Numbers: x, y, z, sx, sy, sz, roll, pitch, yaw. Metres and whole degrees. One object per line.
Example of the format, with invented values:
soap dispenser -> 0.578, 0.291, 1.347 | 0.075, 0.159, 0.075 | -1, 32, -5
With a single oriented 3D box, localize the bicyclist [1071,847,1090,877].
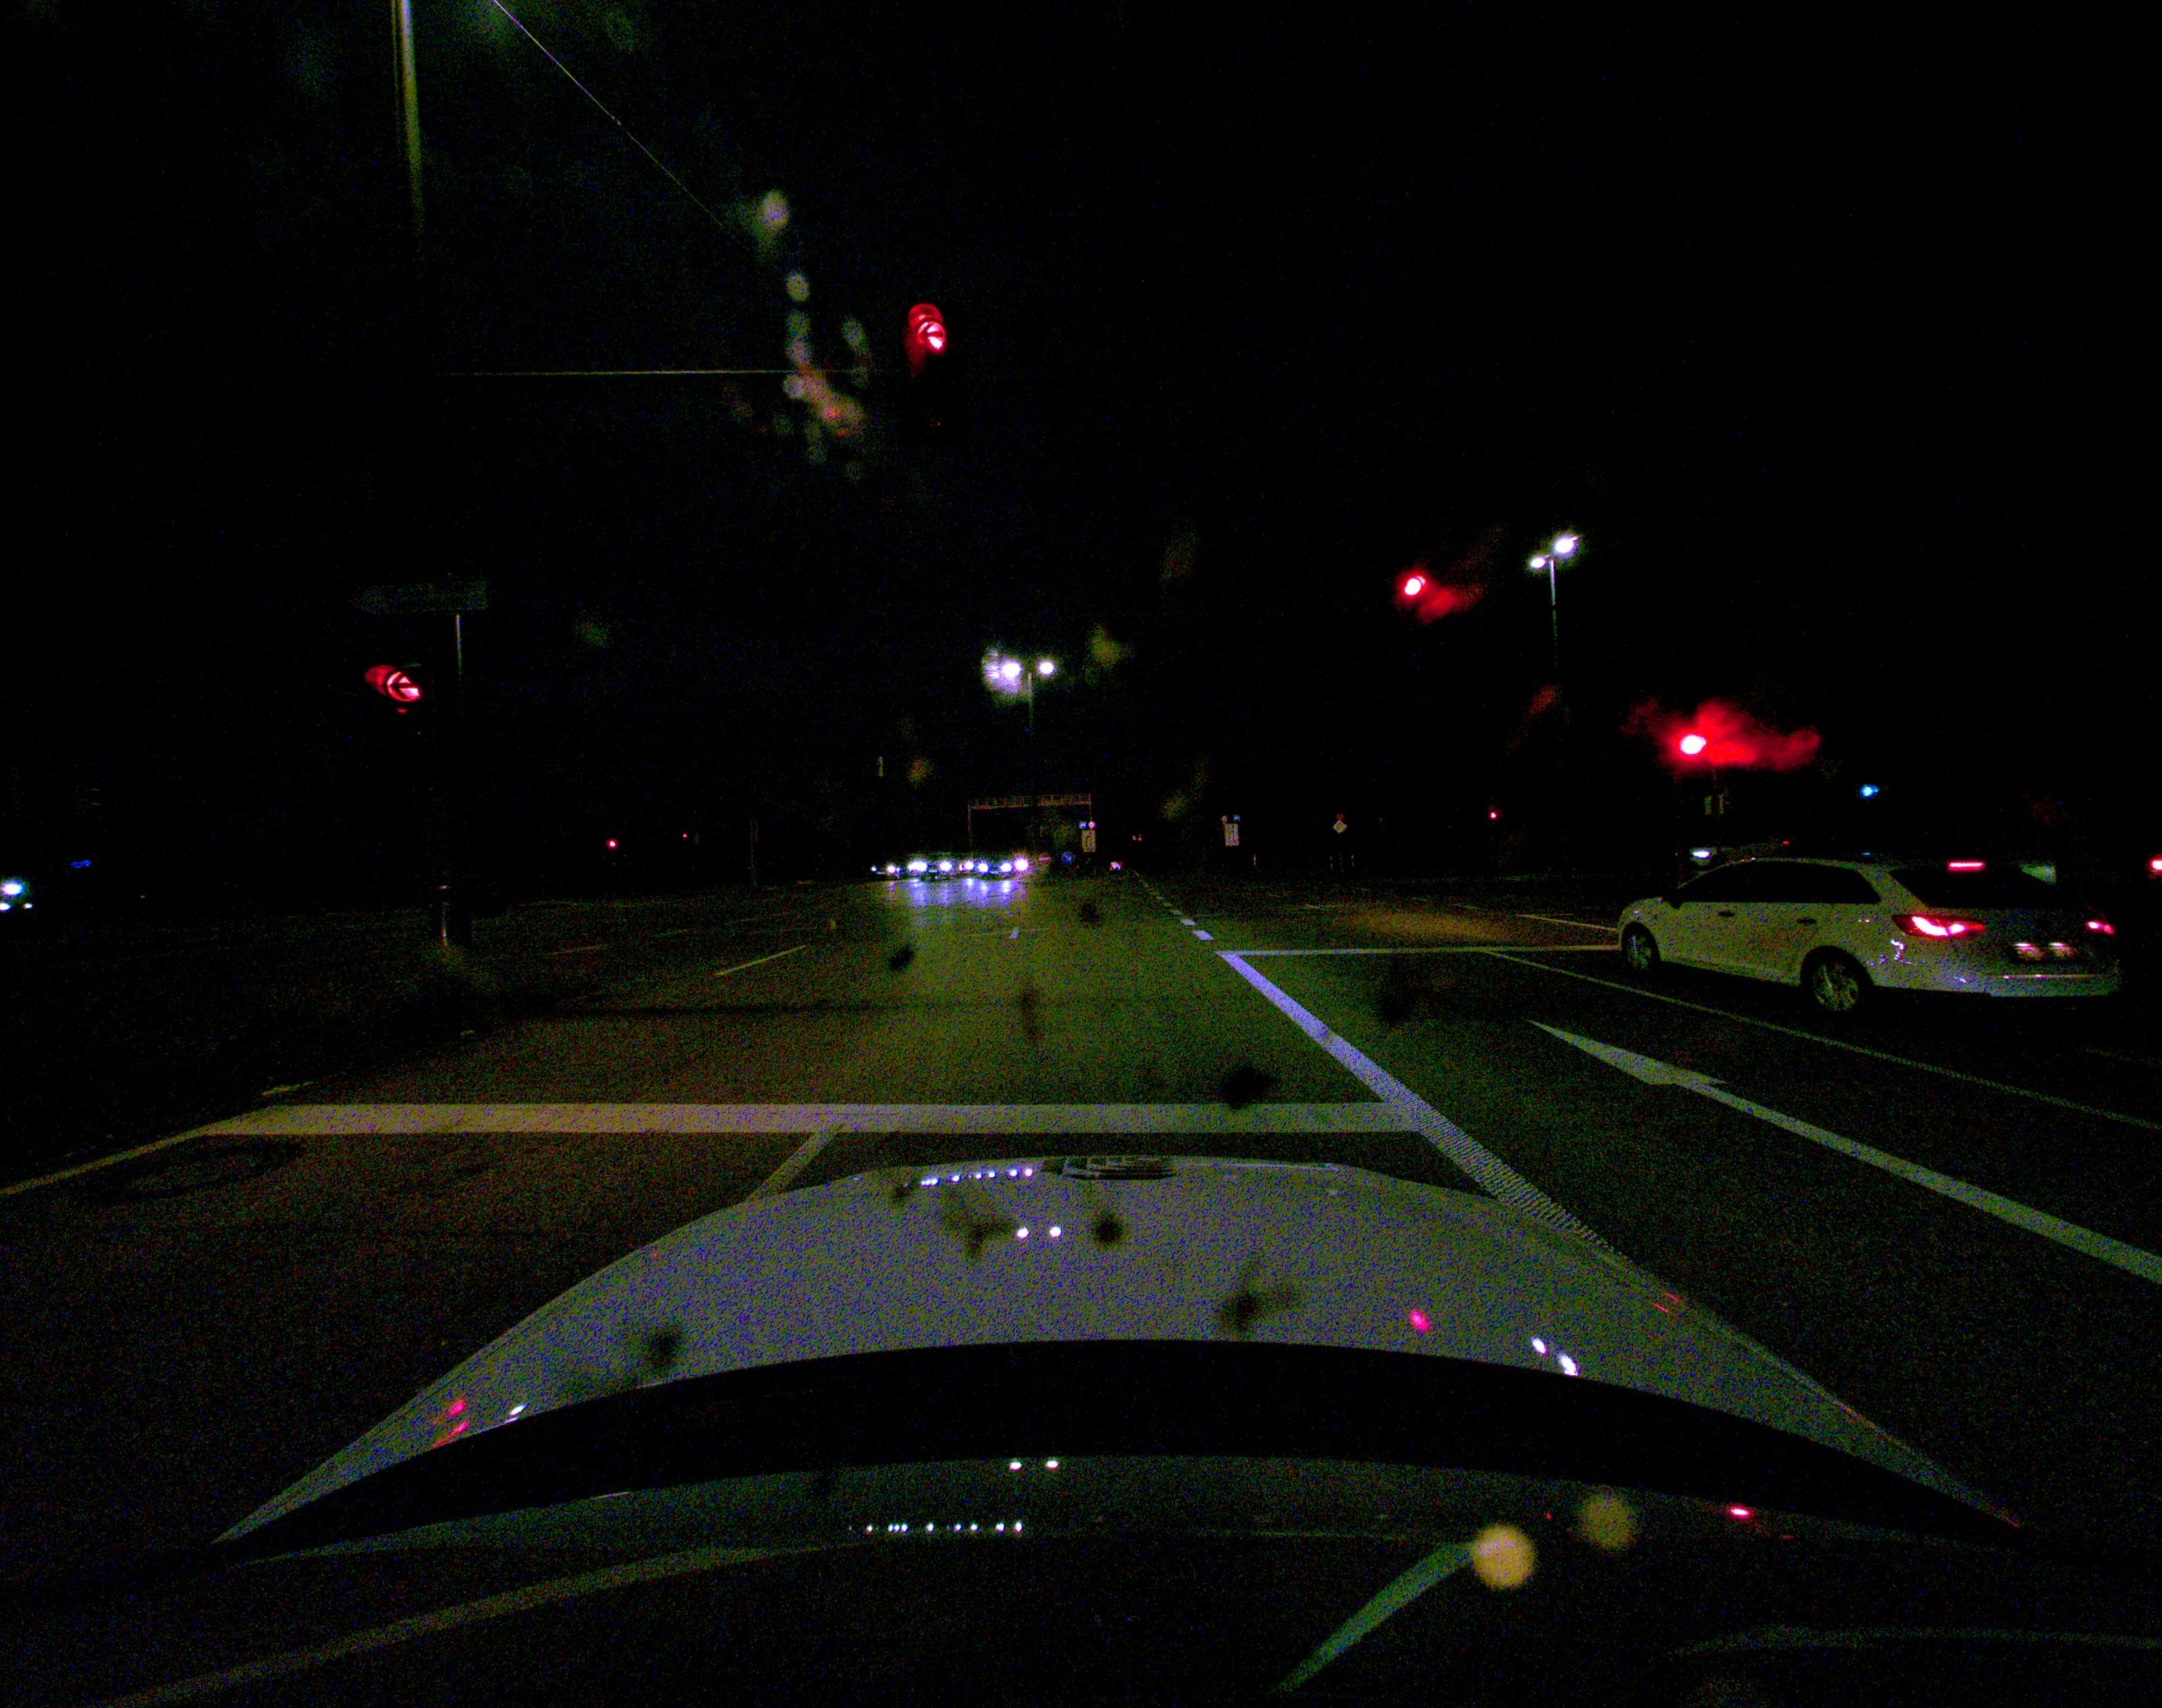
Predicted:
bicyclist -> -0.042, 0.432, 44.716 | 0.995, 1.651, 0.603 | -1, 0, -3

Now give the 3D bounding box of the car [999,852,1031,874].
car -> -4.747, 0.619, 58.938 | 1.765, 1.481, 3.914 | -1, 0, 4

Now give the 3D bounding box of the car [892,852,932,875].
car -> -12.056, 0.668, 58.441 | 1.824, 1.524, 4.003 | -2, 0, 3

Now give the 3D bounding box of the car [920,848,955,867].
car -> -11.612, 0.231, 66.173 | 1.824, 1.390, 4.401 | -2, 1, 3

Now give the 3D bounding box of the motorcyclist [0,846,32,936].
motorcyclist -> -24.699, 0.840, 18.567 | 0.761, 2.013, 0.637 | -1, 0, 6

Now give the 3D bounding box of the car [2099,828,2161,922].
car -> 19.963, 0.326, 14.548 | 1.719, 1.573, 4.084 | 0, 1, 44

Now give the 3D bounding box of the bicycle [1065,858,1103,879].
bicycle -> 0.151, 0.800, 44.713 | 2.057, 1.101, 0.694 | -1, 0, -4

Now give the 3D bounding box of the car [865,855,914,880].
car -> -12.203, 0.811, 52.137 | 1.772, 1.445, 4.297 | -1, 1, 5

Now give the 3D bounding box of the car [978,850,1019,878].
car -> -5.105, 0.590, 50.990 | 1.844, 1.633, 4.589 | -1, 1, 3

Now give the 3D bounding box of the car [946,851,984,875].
car -> -8.259, 0.611, 58.339 | 1.738, 1.626, 4.367 | -1, 1, 4

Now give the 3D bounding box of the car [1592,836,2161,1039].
car -> 7.177, 0.616, 8.063 | 1.614, 1.443, 4.117 | -2, 0, -1

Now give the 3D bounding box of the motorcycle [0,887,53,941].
motorcycle -> -24.463, 1.348, 18.392 | 1.793, 1.163, 0.674 | -1, 0, 6

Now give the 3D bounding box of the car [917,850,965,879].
car -> -8.698, 0.638, 50.922 | 1.900, 1.682, 4.424 | -1, 1, 4
